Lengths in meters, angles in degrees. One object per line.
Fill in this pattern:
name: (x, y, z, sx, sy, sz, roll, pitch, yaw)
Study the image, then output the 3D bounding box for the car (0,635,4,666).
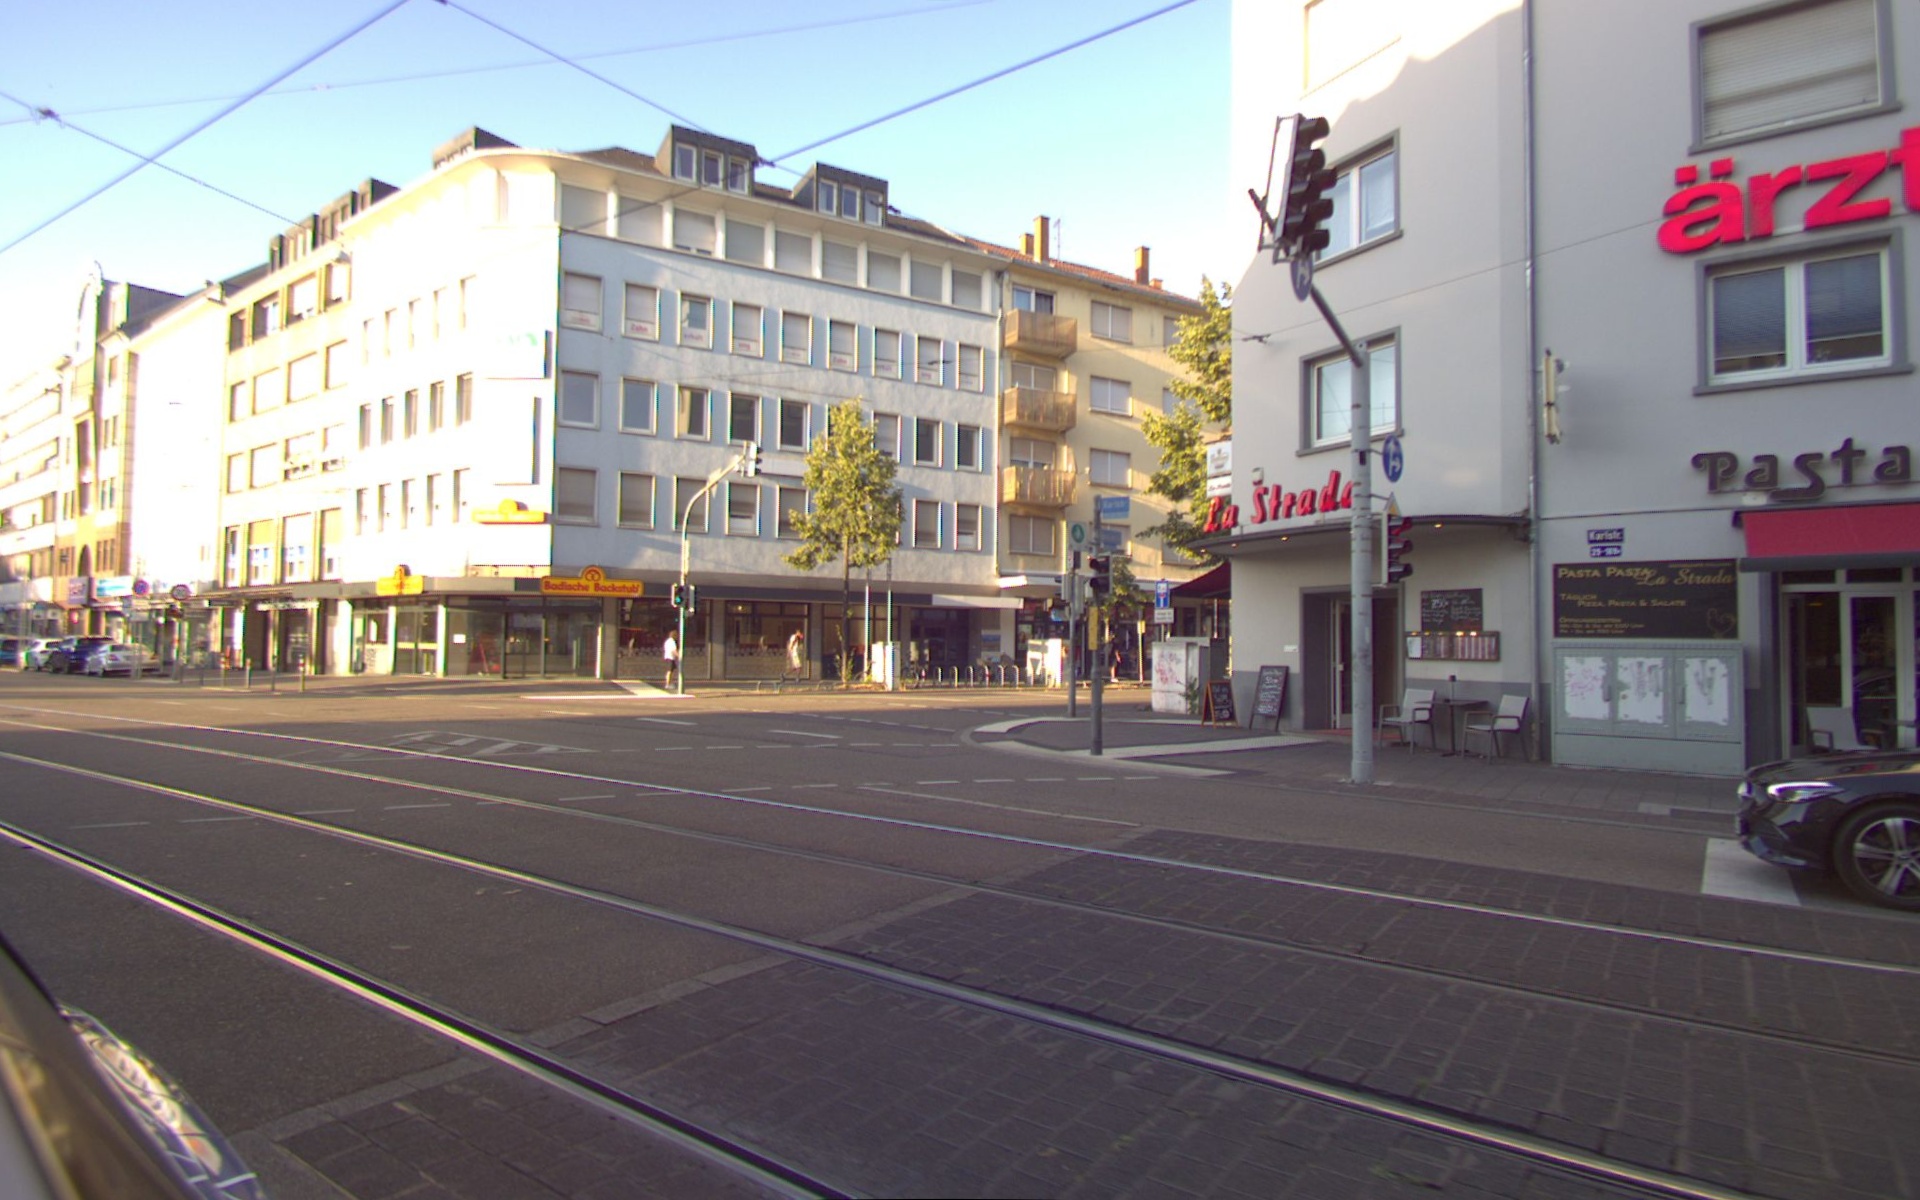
car: (-52.594, 2.671, 53.943, 3.996, 1.648, 1.824, -2, -4, 40)

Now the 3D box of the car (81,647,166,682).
car: (-33.087, 2.525, 40.000, 3.996, 1.304, 1.824, -2, -4, 40)

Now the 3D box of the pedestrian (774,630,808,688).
pedestrian: (-5.568, 1.931, 33.358, 0.979, 1.901, 0.807, 0, -1, -1)

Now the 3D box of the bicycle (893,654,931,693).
bicycle: (-1.594, 2.372, 33.023, 0.462, 1.213, 1.925, 2, -3, -27)

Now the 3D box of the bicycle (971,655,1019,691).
bicycle: (1.186, 2.479, 34.599, 0.462, 1.213, 1.922, 3, -4, -40)

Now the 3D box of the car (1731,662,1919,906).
car: (7.300, 1.122, 5.790, 4.556, 1.397, 1.897, -2, -6, 38)

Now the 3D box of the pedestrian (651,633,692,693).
pedestrian: (-8.637, 1.877, 30.347, 0.979, 1.739, 0.807, 0, -1, -1)

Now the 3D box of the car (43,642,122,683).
car: (-36.840, 2.602, 42.481, 3.996, 1.648, 1.824, -2, -4, 40)

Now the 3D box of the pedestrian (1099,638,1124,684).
pedestrian: (6.081, 2.453, 40.678, 0.639, 1.821, 0.712, 3, -6, -29)

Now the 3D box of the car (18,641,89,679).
car: (-41.643, 2.716, 46.462, 3.996, 1.648, 1.824, -2, -4, 40)

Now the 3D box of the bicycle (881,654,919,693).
bicycle: (-1.945, 2.340, 32.655, 0.462, 1.213, 1.925, 2, -3, -27)

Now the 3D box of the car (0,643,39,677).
car: (-48.035, 2.991, 51.010, 3.996, 1.648, 1.824, -2, -4, 40)
